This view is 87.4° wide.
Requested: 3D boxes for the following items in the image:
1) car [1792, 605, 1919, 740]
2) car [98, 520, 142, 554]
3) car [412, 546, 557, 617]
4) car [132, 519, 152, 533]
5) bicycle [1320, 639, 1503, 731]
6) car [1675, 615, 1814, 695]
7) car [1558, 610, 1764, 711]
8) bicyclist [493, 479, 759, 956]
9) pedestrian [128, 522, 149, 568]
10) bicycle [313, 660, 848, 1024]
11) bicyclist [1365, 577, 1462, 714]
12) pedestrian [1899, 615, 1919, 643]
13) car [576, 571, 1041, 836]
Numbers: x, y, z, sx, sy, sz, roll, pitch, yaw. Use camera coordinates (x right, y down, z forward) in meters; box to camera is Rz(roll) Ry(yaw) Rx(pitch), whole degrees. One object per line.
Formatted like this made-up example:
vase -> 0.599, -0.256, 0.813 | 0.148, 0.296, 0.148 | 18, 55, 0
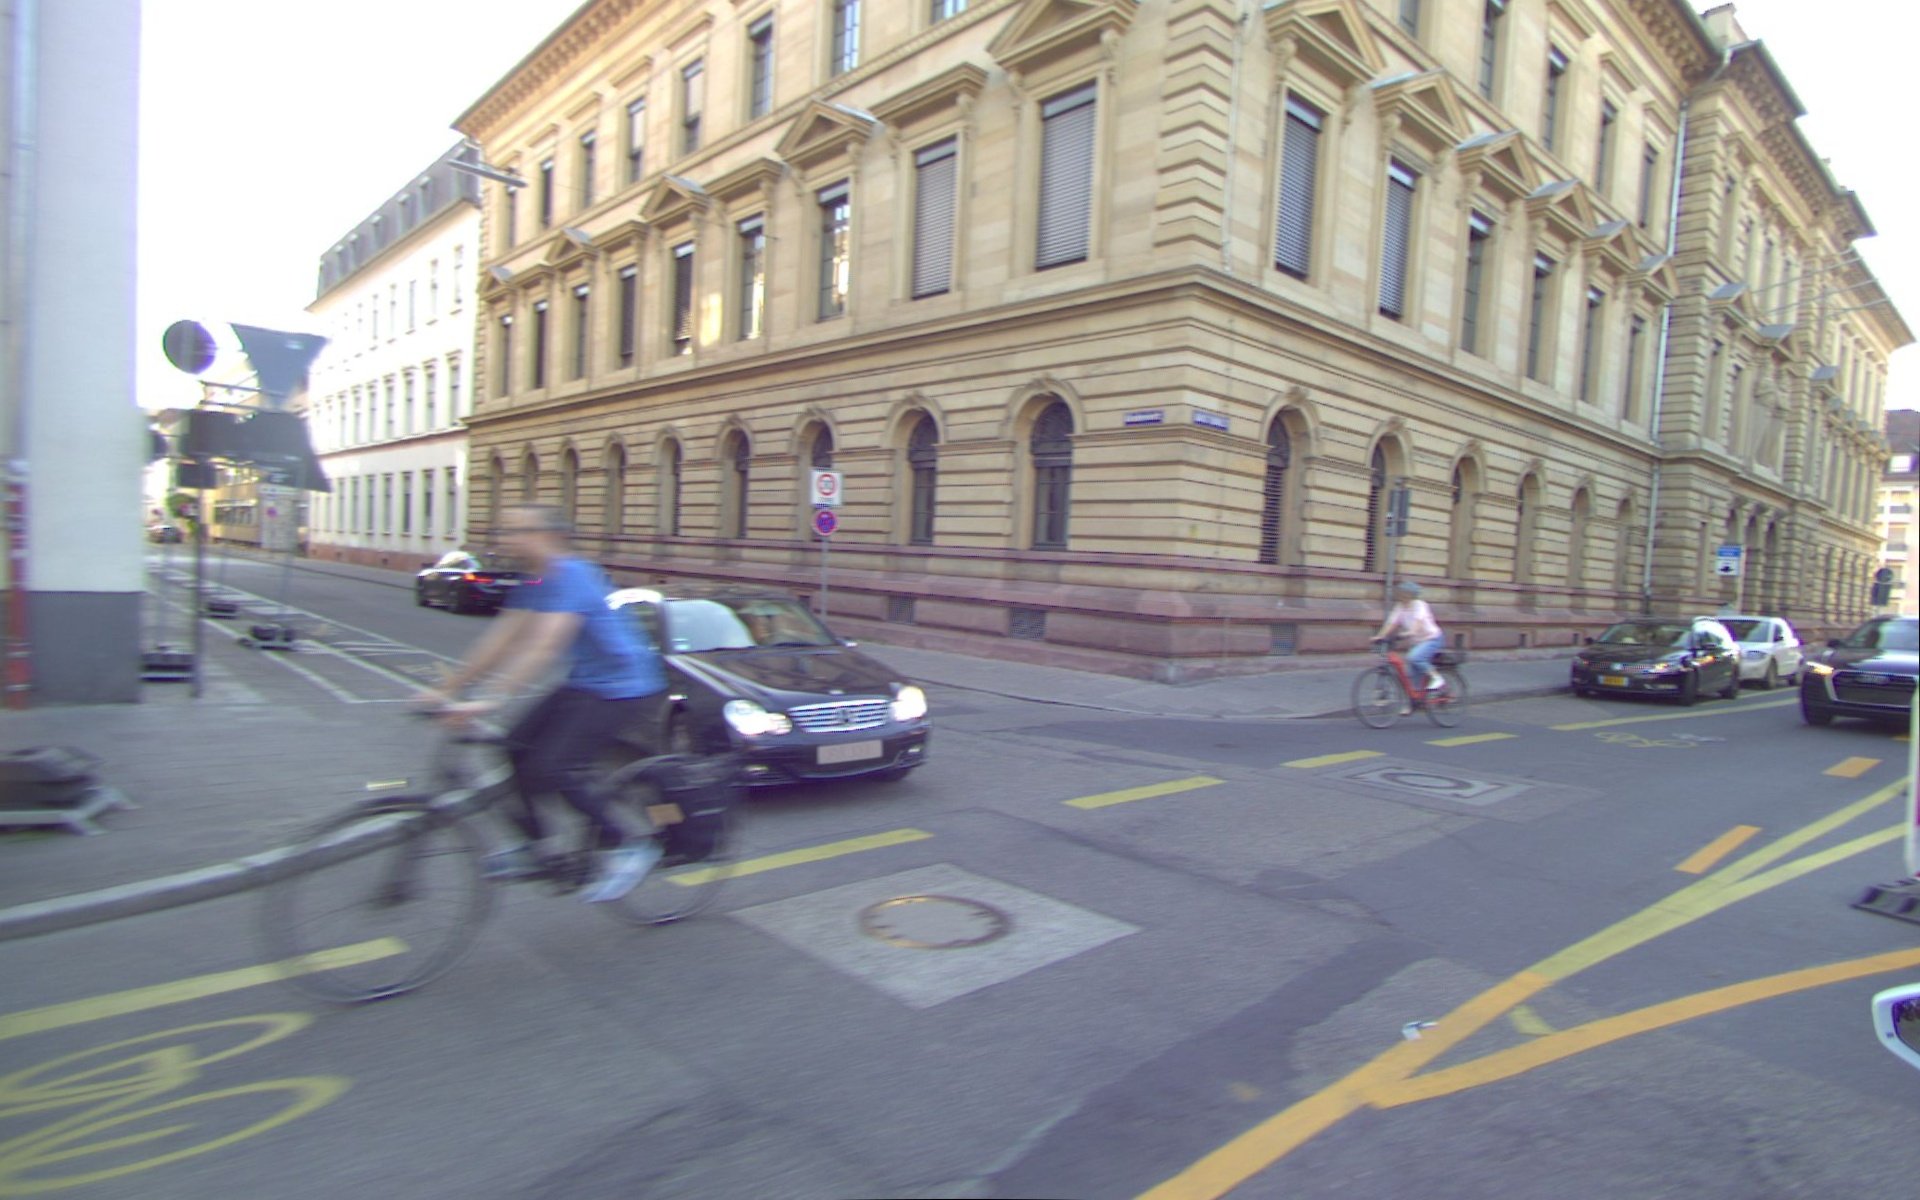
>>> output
car -> 14.089, 1.017, 14.774 | 4.614, 1.693, 1.862 | 2, 1, -38
car -> -48.878, -3.613, 58.423 | 1.772, 1.706, 3.949 | 2, -1, -43
car -> -11.495, -0.477, 24.138 | 1.986, 1.461, 4.269 | 1, 3, -42
car -> -88.400, -8.003, 108.559 | 1.434, 1.484, 3.356 | 1, 2, -43
bicycle -> 5.480, 1.031, 12.196 | 2.092, 1.005, 0.637 | 3, 2, -18
car -> 17.683, 1.193, 22.594 | 3.815, 1.528, 1.653 | 2, 3, -40
car -> 12.732, 1.016, 18.136 | 4.605, 1.528, 1.863 | 2, 1, -40
bicyclist -> -1.344, 0.426, 4.059 | 0.829, 1.697, 0.576 | 2, 0, -39
pedestrian -> -32.970, -2.214, 40.325 | 0.635, 1.805, 0.554 | 5, 3, 45
bicycle -> -1.424, 0.817, 4.008 | 1.881, 1.085, 0.604 | 2, 1, -39
bicyclist -> 5.509, 0.547, 12.227 | 0.751, 1.598, 0.641 | 2, 2, -18
pedestrian -> 57.213, 1.763, 60.507 | 0.811, 1.605, 0.626 | 1, 6, -37
car -> -1.564, 0.559, 8.159 | 1.750, 1.340, 4.726 | 2, 2, -36
